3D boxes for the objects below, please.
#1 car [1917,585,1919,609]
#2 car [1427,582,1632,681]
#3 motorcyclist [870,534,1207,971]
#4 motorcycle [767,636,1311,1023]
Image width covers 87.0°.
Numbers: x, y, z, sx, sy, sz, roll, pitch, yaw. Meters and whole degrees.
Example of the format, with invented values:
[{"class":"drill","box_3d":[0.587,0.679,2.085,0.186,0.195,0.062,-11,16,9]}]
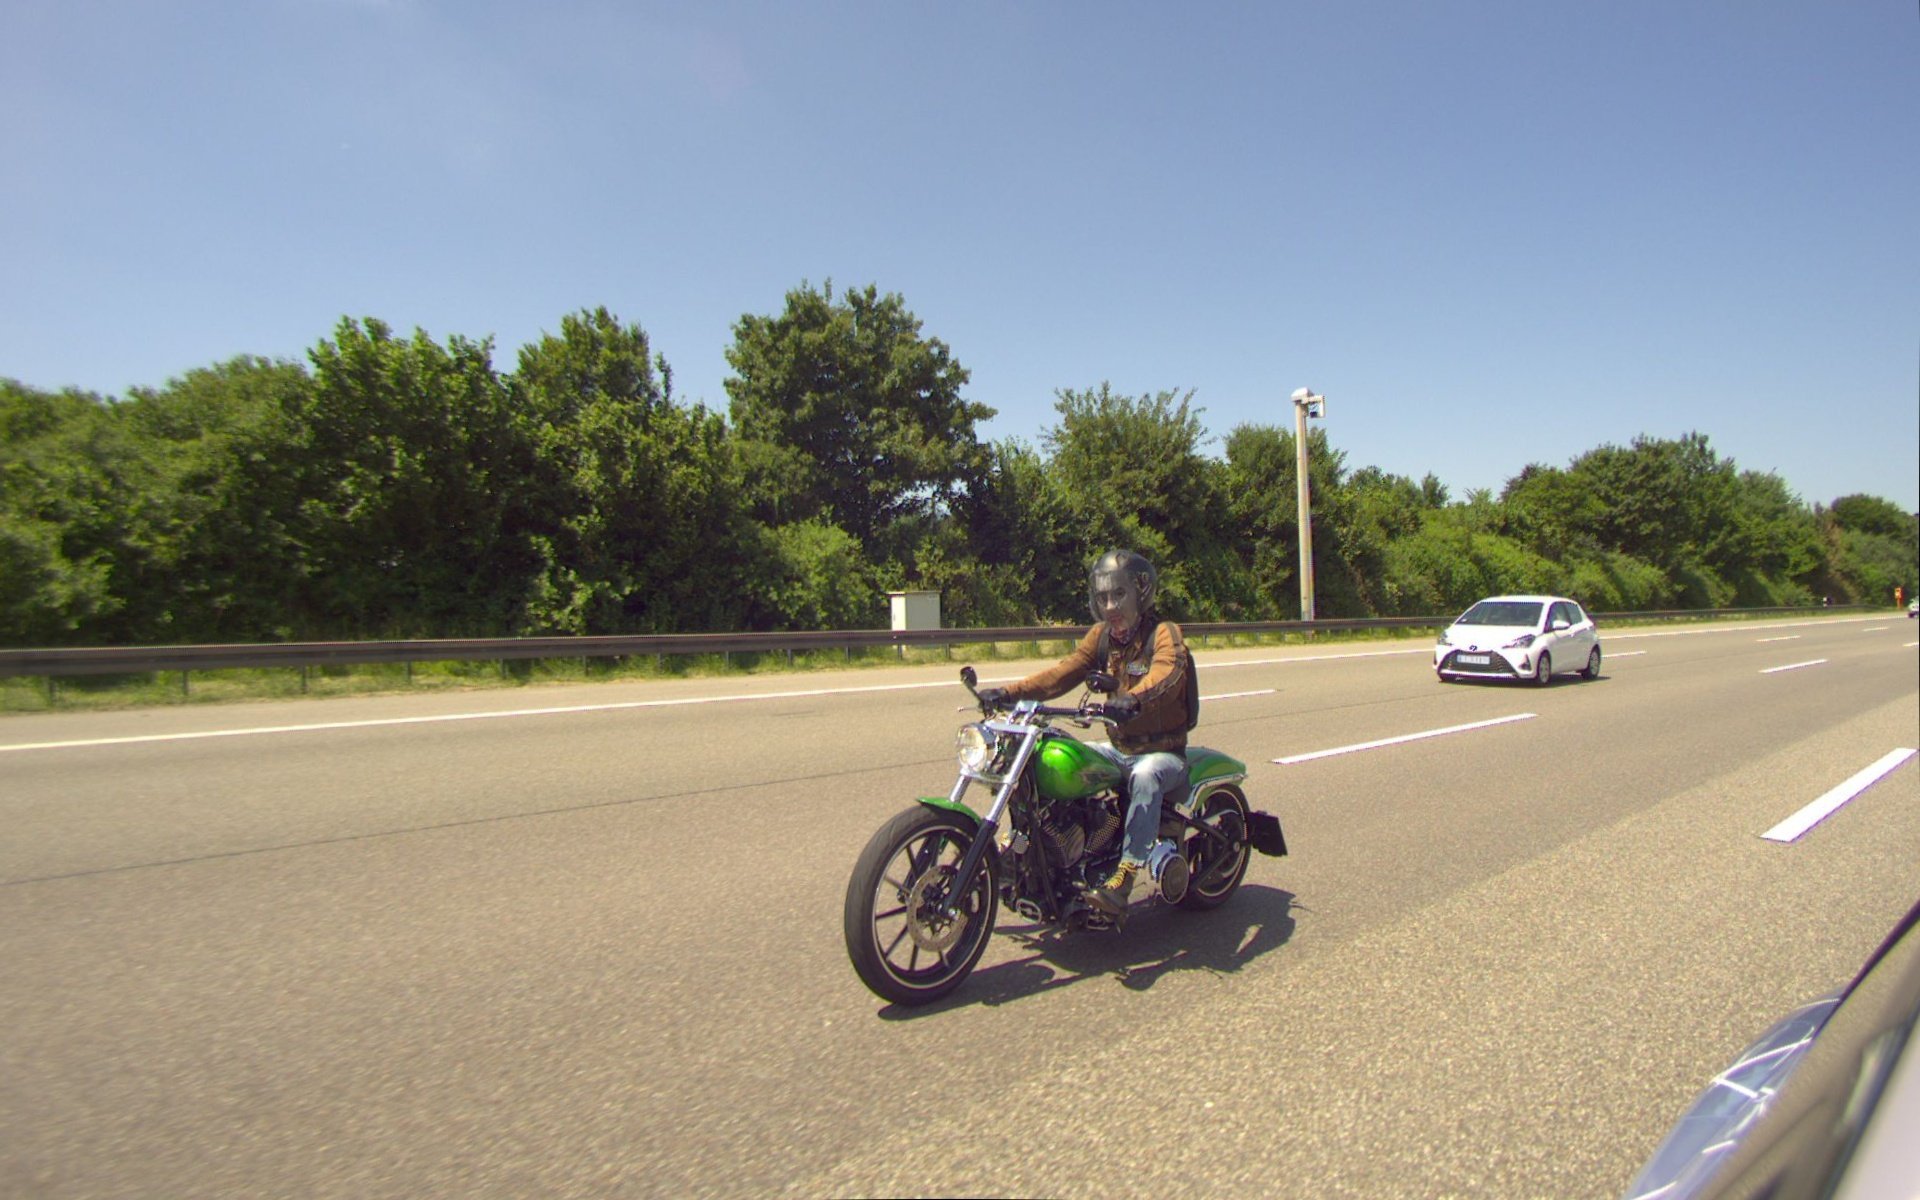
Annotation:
[{"class":"car","box_3d":[64.956,-0.239,66.826,3.927,1.549,1.999,-2,1,-37]},{"class":"car","box_3d":[10.209,0.555,18.009,4.404,1.538,1.753,3,-1,-40]},{"class":"motorcyclist","box_3d":[0.297,0.496,3.981,1.003,1.445,0.856,0,0,-34]},{"class":"motorcycle","box_3d":[0.440,0.760,4.109,2.390,1.150,0.537,0,0,-34]}]
